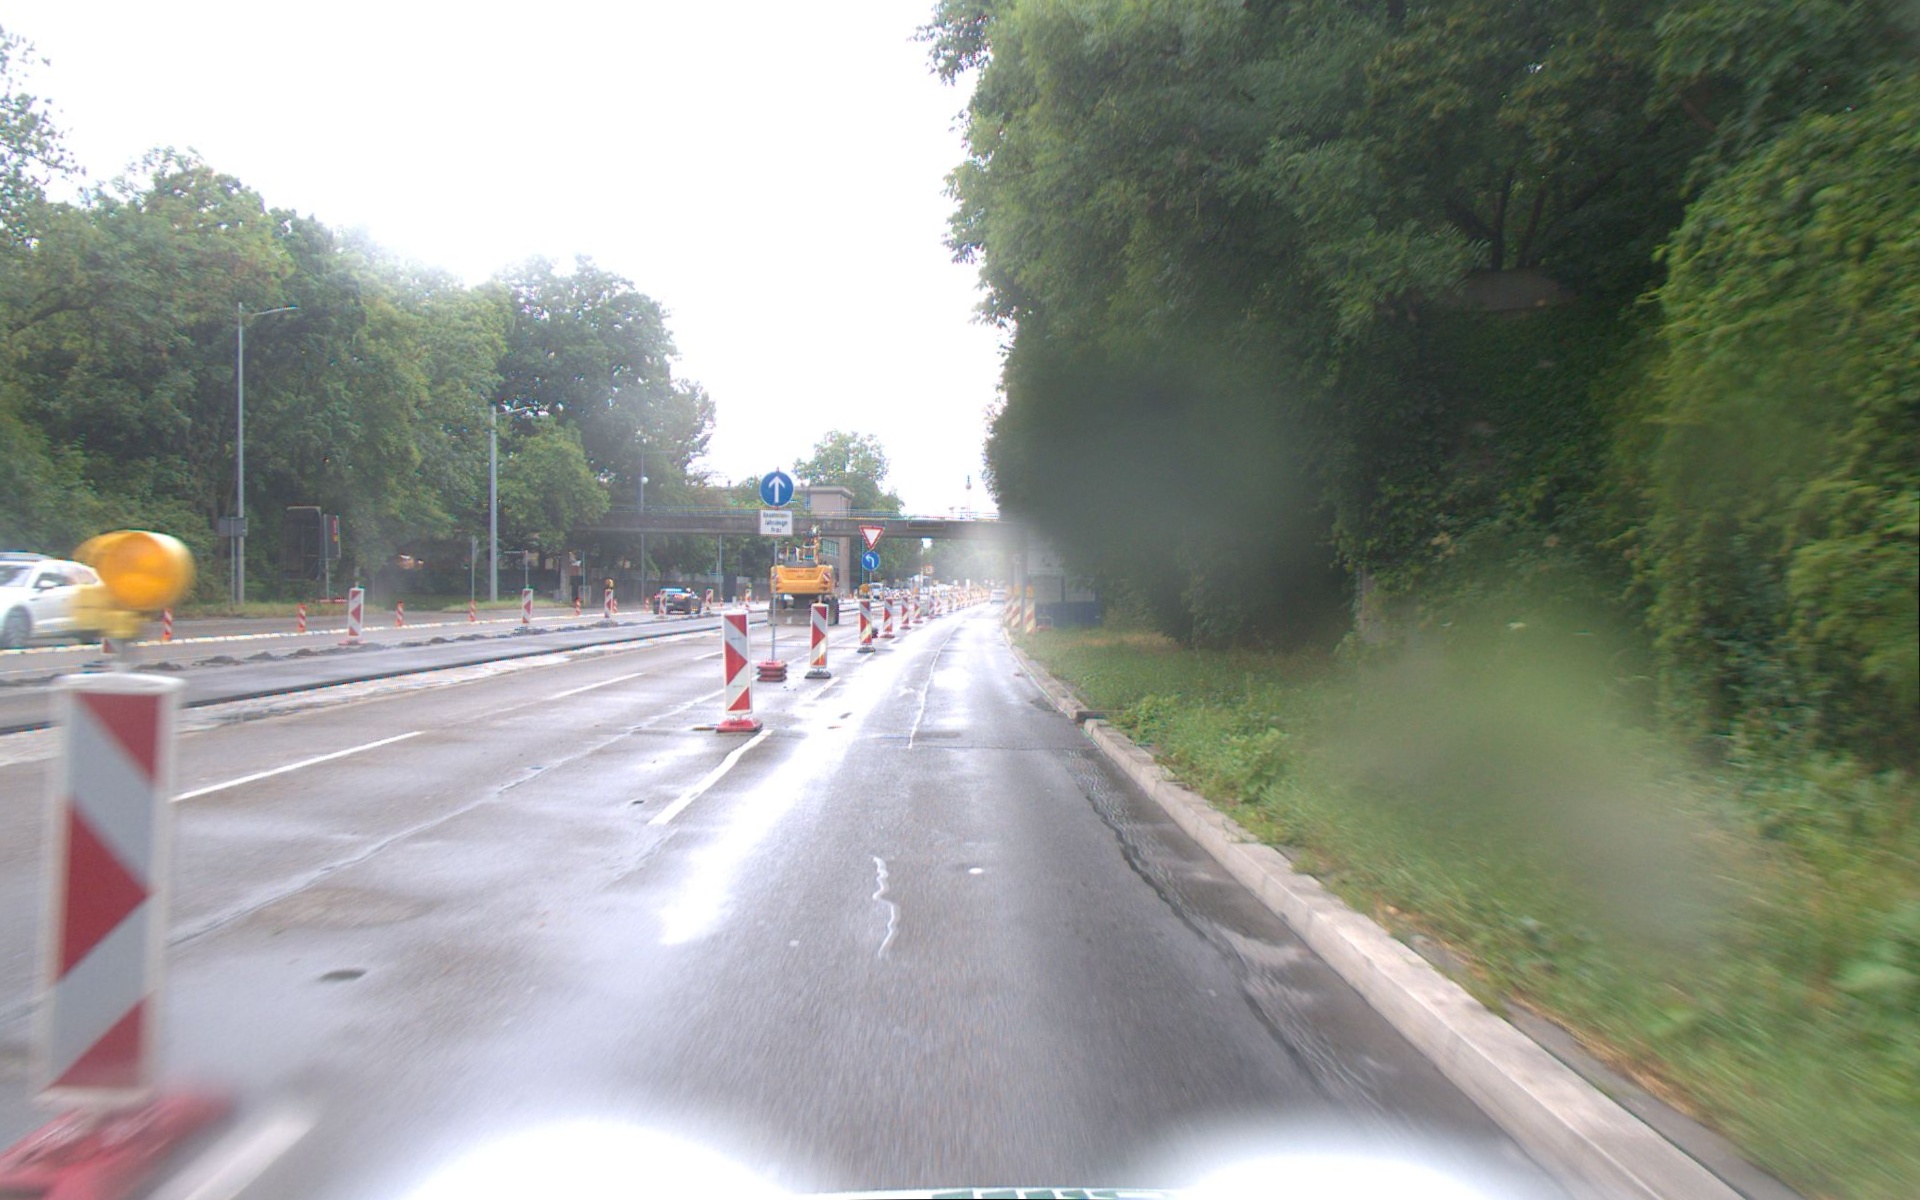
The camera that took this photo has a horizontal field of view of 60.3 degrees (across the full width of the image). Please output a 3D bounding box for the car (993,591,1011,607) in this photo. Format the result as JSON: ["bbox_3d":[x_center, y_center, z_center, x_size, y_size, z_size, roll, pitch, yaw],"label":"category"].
[{"bbox_3d":[4.621,-0.094,182.322,1.952,1.668,4.001,0,0,2],"label":"car"}]

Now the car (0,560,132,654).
[{"bbox_3d":[-18.183,0.100,32.067,1.852,1.690,4.892,1,0,-1],"label":"car"}]

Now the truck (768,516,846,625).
[{"bbox_3d":[-6.575,-1.240,72.348,2.839,4.333,10.749,1,0,-3],"label":"truck"}]
